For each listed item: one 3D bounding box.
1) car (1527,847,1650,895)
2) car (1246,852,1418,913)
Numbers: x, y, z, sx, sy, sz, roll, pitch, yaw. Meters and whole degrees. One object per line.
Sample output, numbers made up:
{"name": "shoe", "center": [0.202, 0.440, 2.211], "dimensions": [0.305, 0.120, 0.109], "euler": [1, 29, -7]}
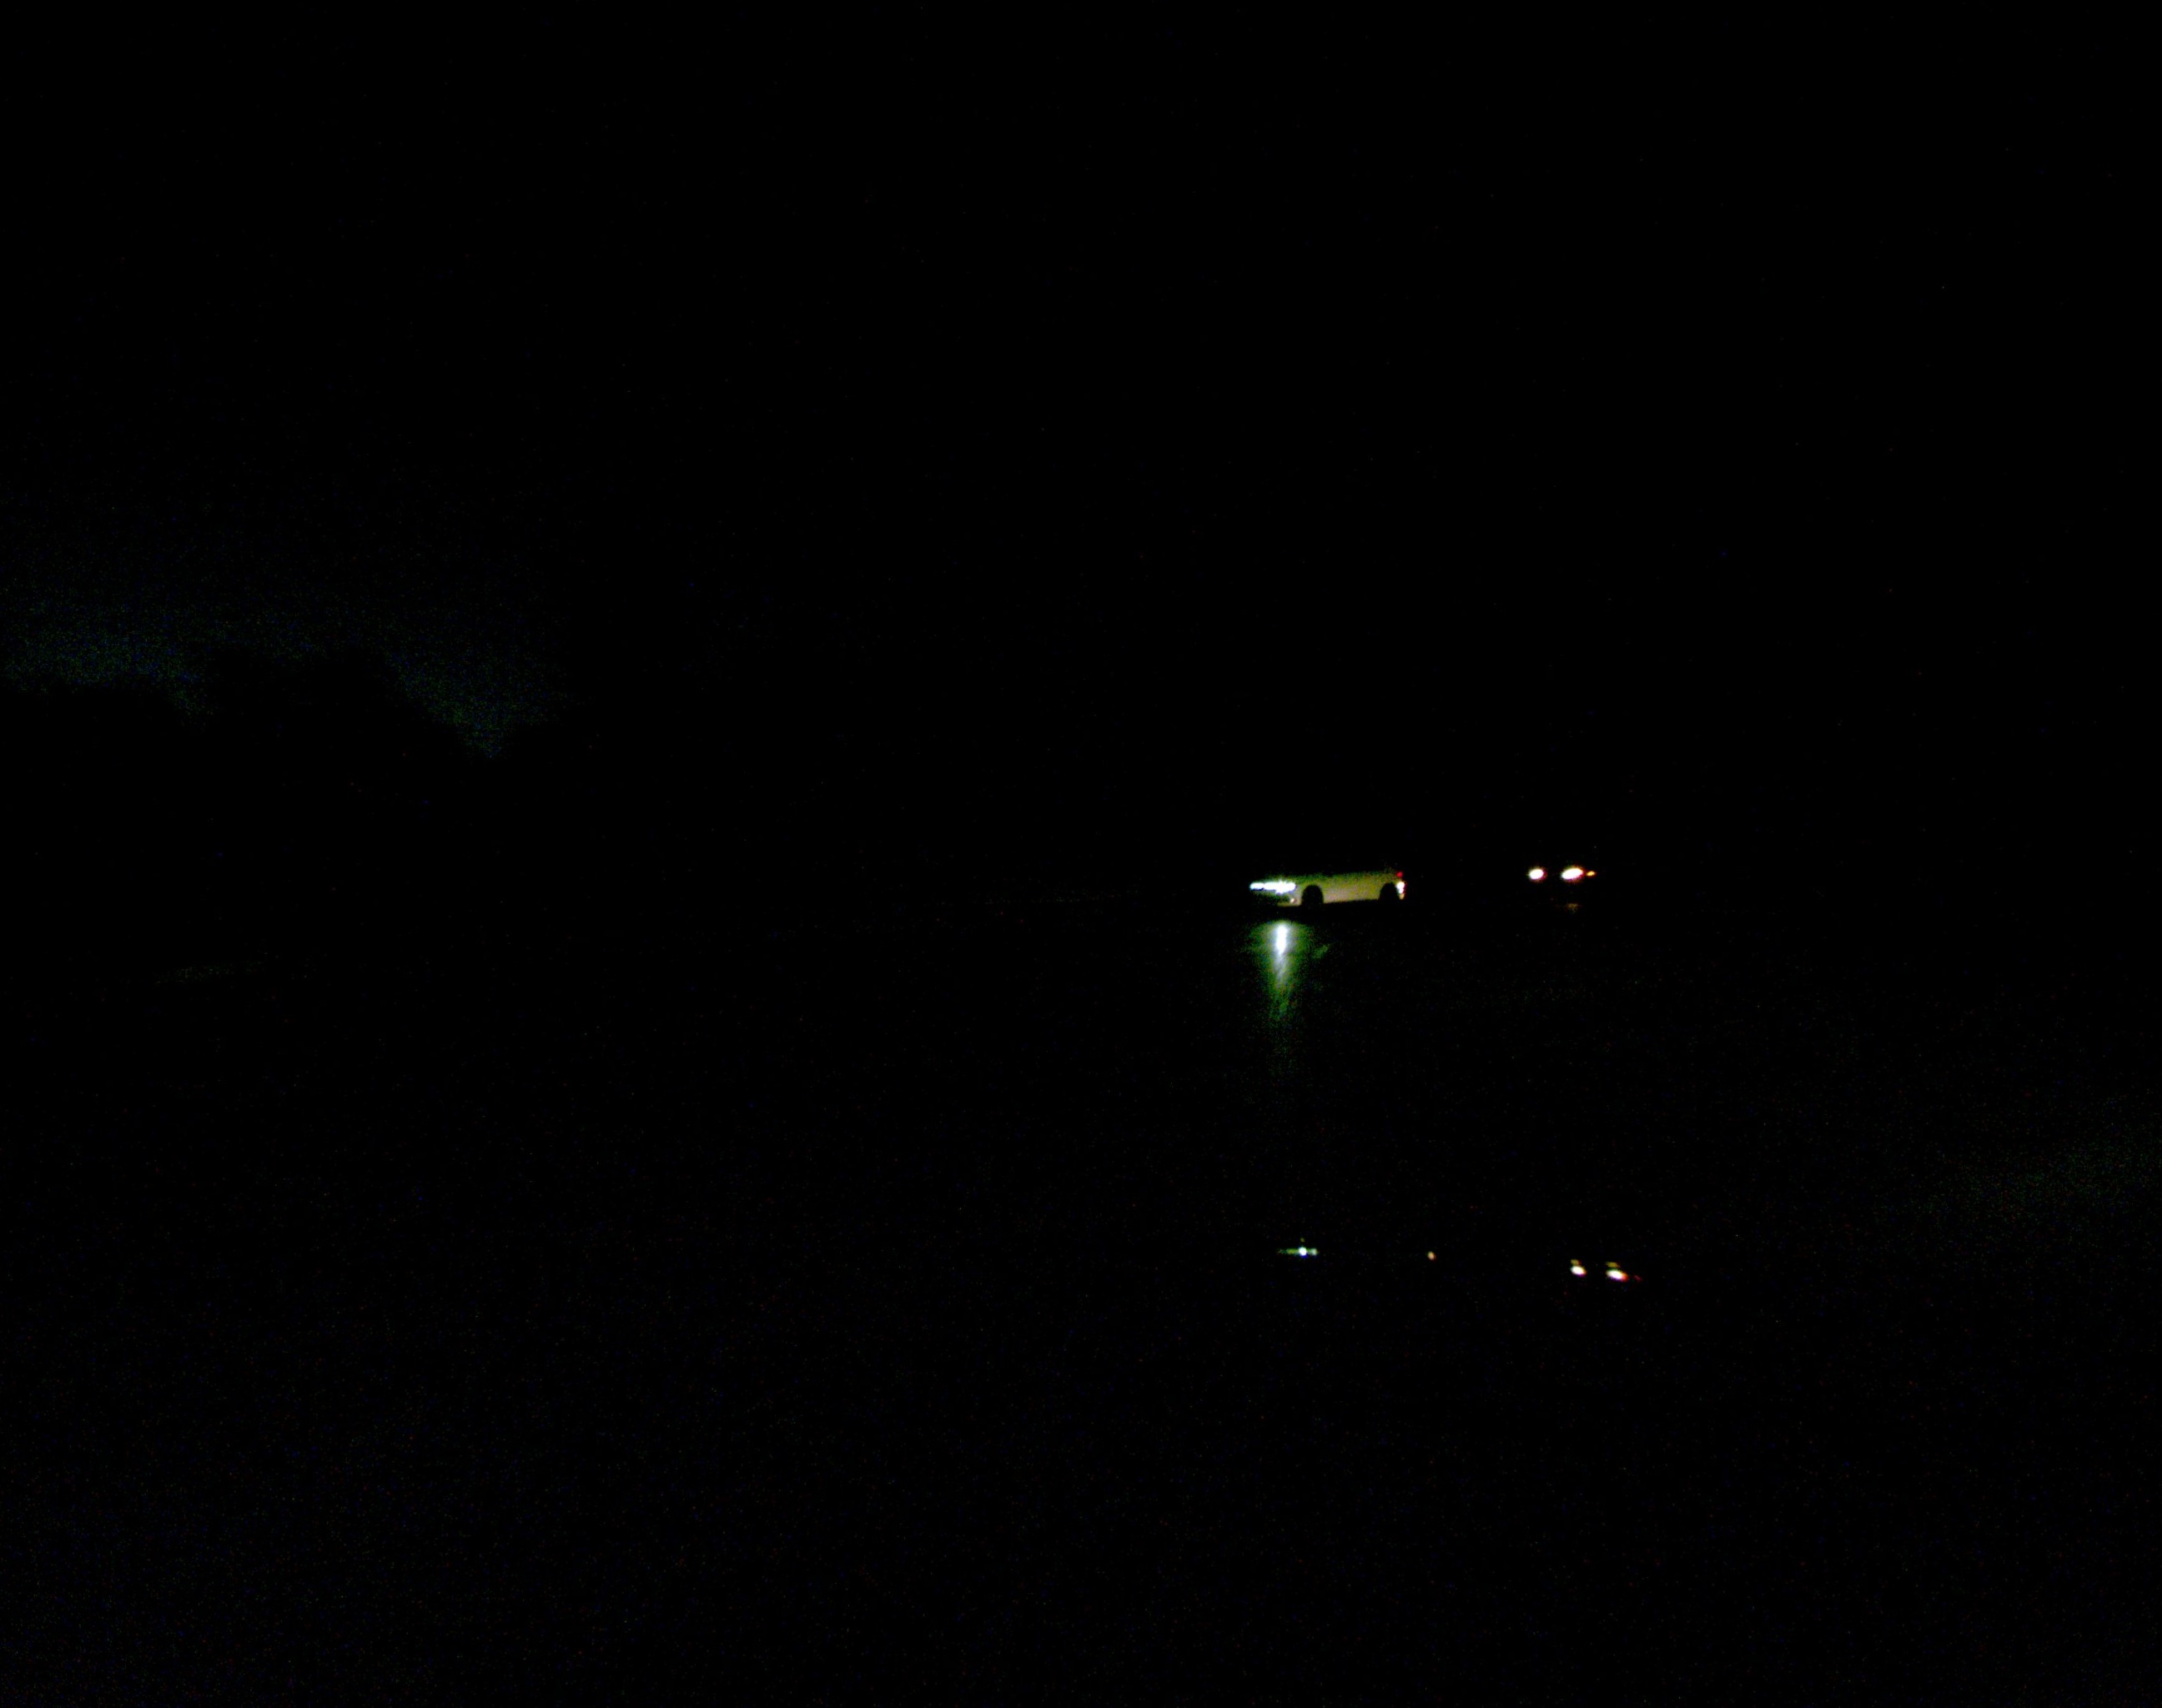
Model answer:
{"name": "car", "center": [16.327, 0.538, 24.453], "dimensions": [3.494, 1.442, 1.655], "euler": [0, -1, -24]}
{"name": "car", "center": [6.582, 0.700, 19.911], "dimensions": [4.198, 1.450, 1.760], "euler": [0, -1, -25]}
